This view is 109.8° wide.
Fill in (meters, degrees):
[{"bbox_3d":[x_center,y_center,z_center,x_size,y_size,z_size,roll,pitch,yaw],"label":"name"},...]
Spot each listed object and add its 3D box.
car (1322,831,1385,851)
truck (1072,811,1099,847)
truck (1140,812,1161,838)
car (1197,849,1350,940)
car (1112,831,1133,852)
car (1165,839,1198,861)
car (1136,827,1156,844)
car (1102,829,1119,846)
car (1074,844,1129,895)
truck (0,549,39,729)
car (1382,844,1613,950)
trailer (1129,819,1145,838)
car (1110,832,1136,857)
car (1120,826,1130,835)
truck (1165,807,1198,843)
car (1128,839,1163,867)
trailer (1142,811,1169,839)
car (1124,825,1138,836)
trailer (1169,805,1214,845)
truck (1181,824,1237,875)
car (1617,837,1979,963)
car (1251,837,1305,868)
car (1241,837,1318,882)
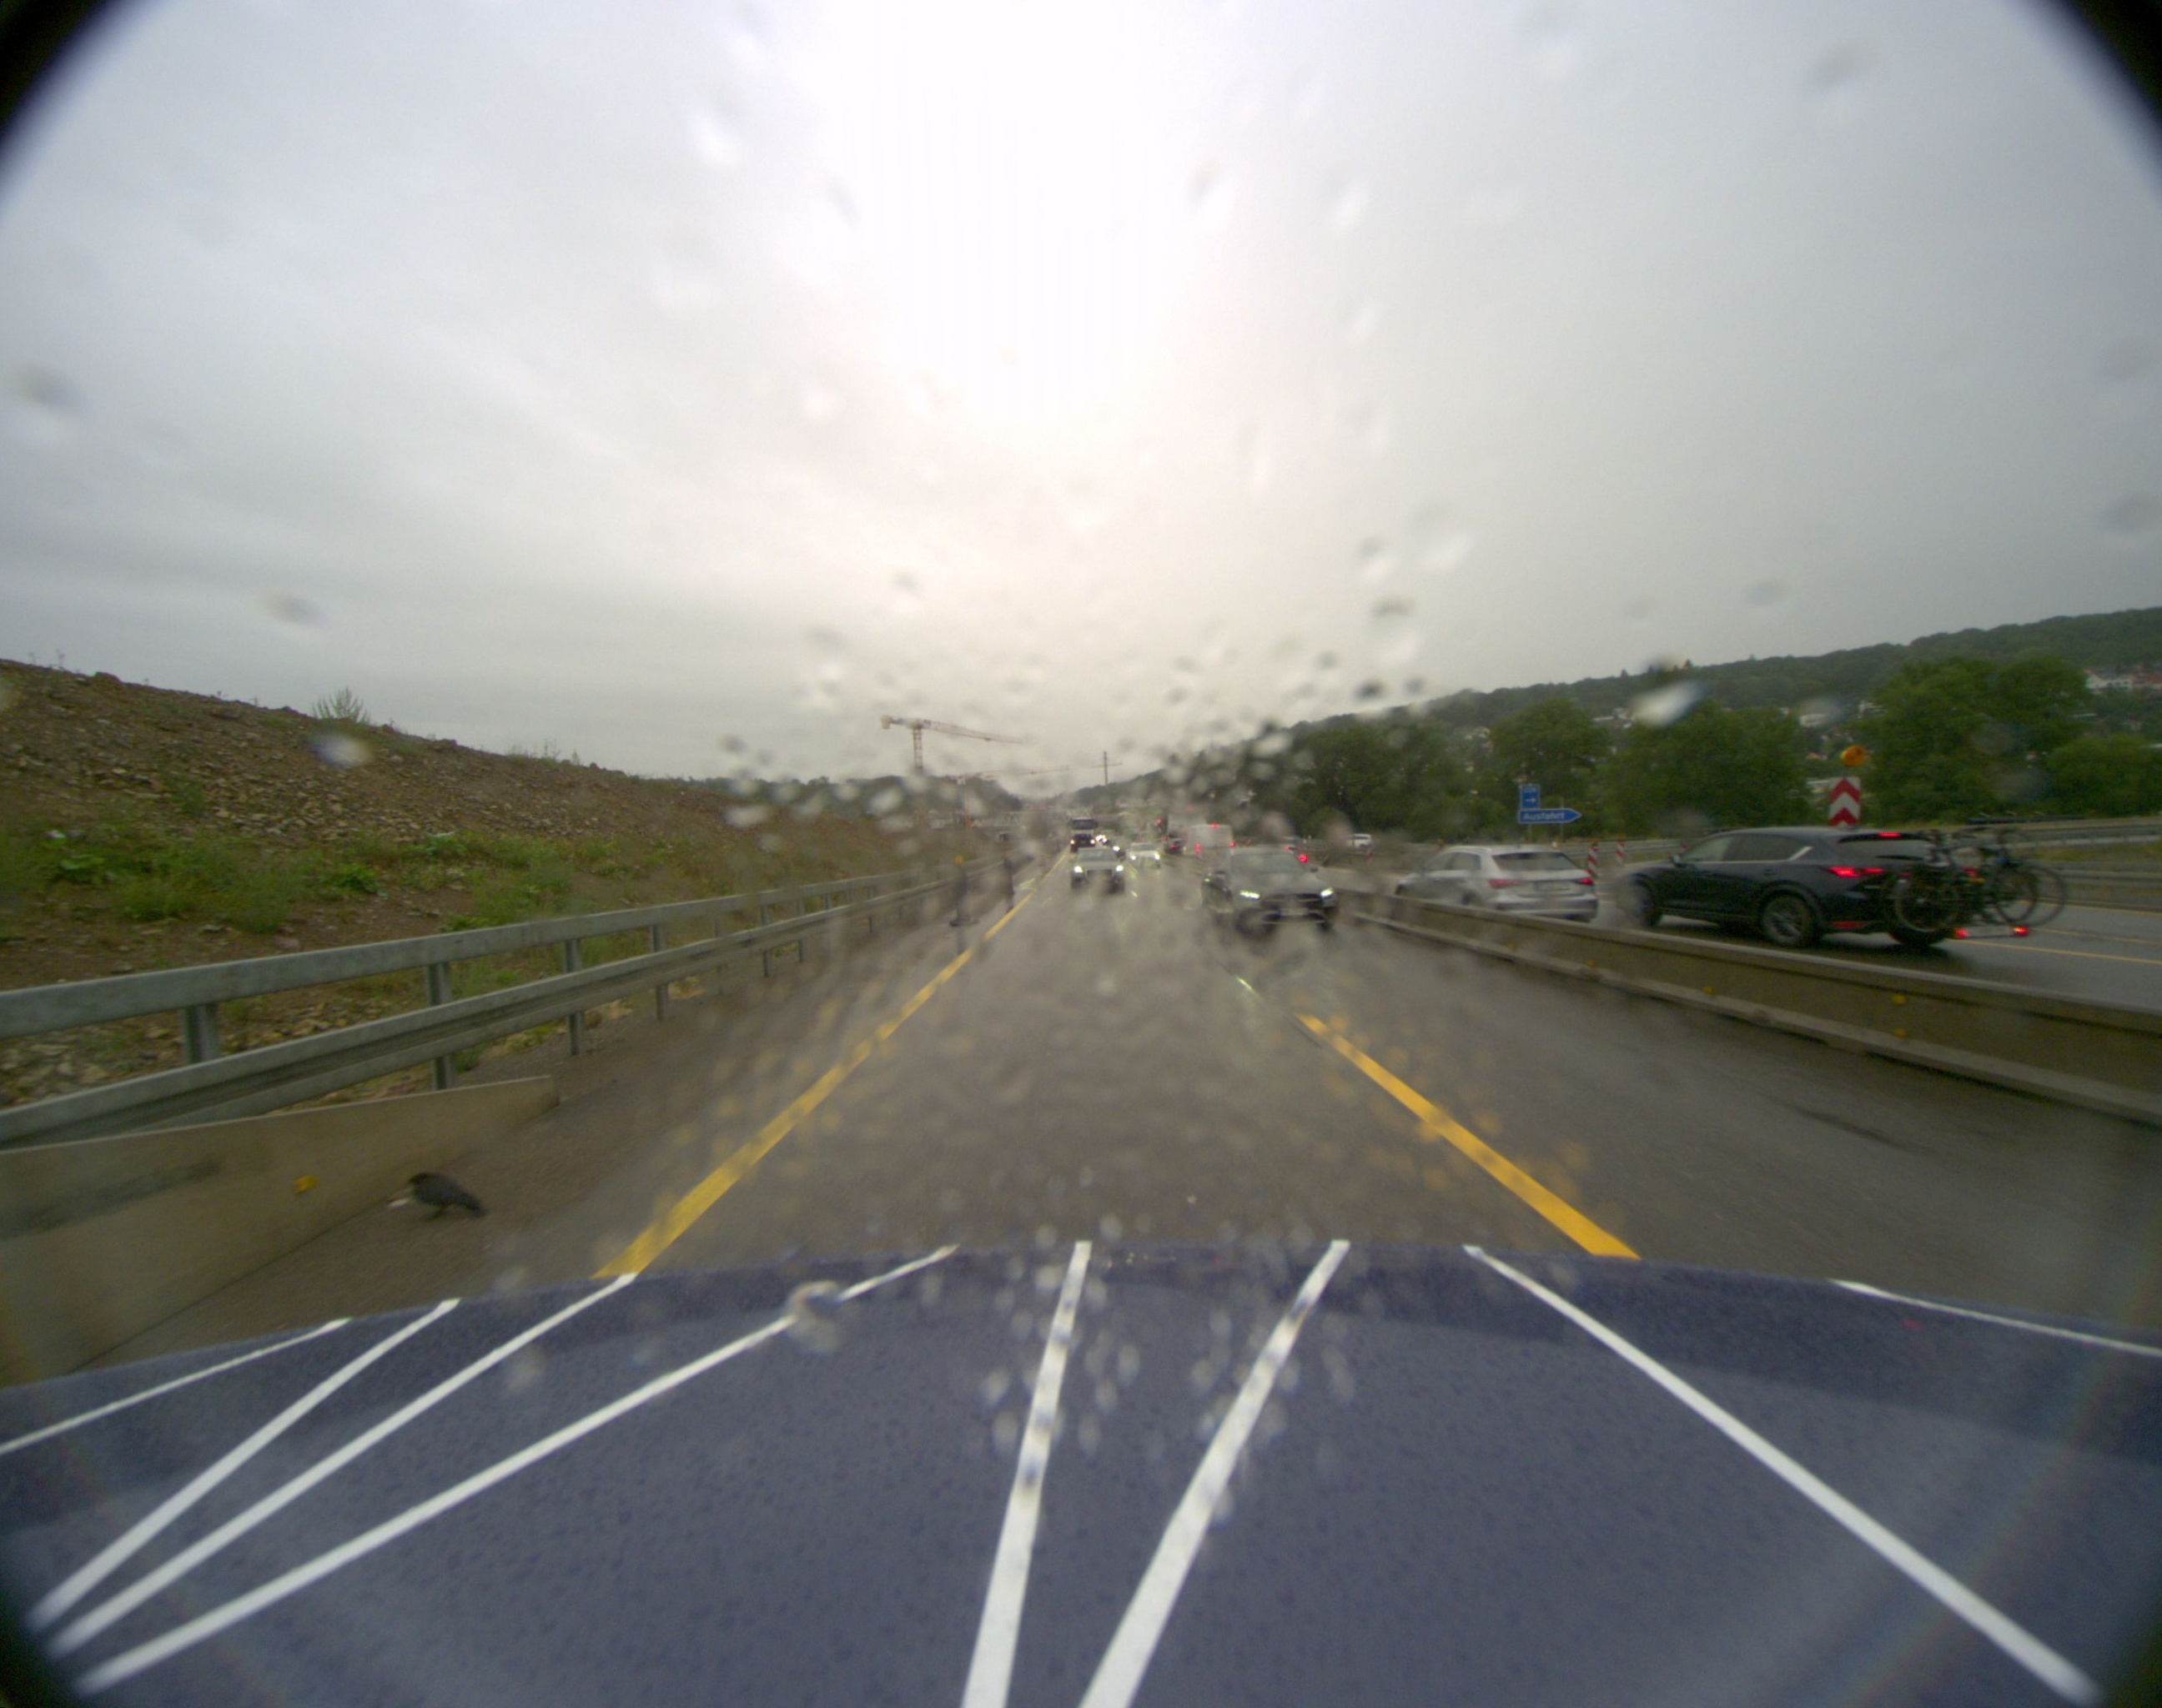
[{"bbox_3d":[24.519,-1.191,68.405,1.854,1.691,5.031,-4,3,-42],"label":"car"},{"bbox_3d":[0.487,-2.607,78.505,2.575,3.452,6.624,-2,2,1],"label":"truck"},{"bbox_3d":[11.360,-4.760,124.372,2.756,4.040,6.145,-2,2,1],"label":"truck"},{"bbox_3d":[3.580,0.668,15.046,1.951,1.430,4.483,-2,1,1],"label":"car"},{"bbox_3d":[4.364,-1.309,80.439,1.998,2.002,4.000,-2,0,1],"label":"car"},{"bbox_3d":[7.231,-0.322,55.117,1.777,1.496,4.677,-1,2,0],"label":"car"},{"bbox_3d":[7.219,-2.099,84.500,1.870,1.790,4.161,-2,2,0],"label":"car"},{"bbox_3d":[3.769,-2.131,97.684,1.998,2.002,4.187,-2,0,0],"label":"car"},{"bbox_3d":[0.712,0.500,27.139,1.781,1.515,4.139,-2,2,1],"label":"car"},{"bbox_3d":[-19.436,-3.314,8.285,3.403,2.859,8.957,-2,2,3],"label":"truck"},{"bbox_3d":[7.020,0.610,13.399,1.681,1.515,4.344,-1,1,0],"label":"car"},{"bbox_3d":[12.083,-5.498,164.466,2.692,3.942,9.815,0,2,0],"label":"trailer"},{"bbox_3d":[3.456,-0.822,62.516,1.998,2.002,4.000,-1,2,5],"label":"car"},{"bbox_3d":[8.515,-4.567,146.781,1.791,1.796,5.187,0,2,0],"label":"car"},{"bbox_3d":[10.937,-3.132,82.835,2.627,3.657,6.592,-2,2,0],"label":"truck"},{"bbox_3d":[3.763,-0.111,44.829,1.781,1.430,4.482,-2,2,1],"label":"car"},{"bbox_3d":[11.272,-4.454,116.529,2.756,4.020,15.352,-2,2,1],"label":"trailer"},{"bbox_3d":[8.046,-3.797,122.369,1.998,1.749,4.686,-2,2,1],"label":"car"},{"bbox_3d":[10.947,-2.923,76.566,2.627,3.657,11.998,-2,2,0],"label":"trailer"},{"bbox_3d":[6.952,-0.369,41.924,2.084,2.562,5.959,-2,2,0],"label":"truck"},{"bbox_3d":[10.196,0.544,11.297,1.730,1.515,3.875,-1,1,0],"label":"car"},{"bbox_3d":[10.471,-0.136,40.674,1.792,1.537,3.999,-2,1,0],"label":"car"},{"bbox_3d":[7.331,0.142,28.522,1.791,1.530,4.310,-1,2,0],"label":"car"}]
